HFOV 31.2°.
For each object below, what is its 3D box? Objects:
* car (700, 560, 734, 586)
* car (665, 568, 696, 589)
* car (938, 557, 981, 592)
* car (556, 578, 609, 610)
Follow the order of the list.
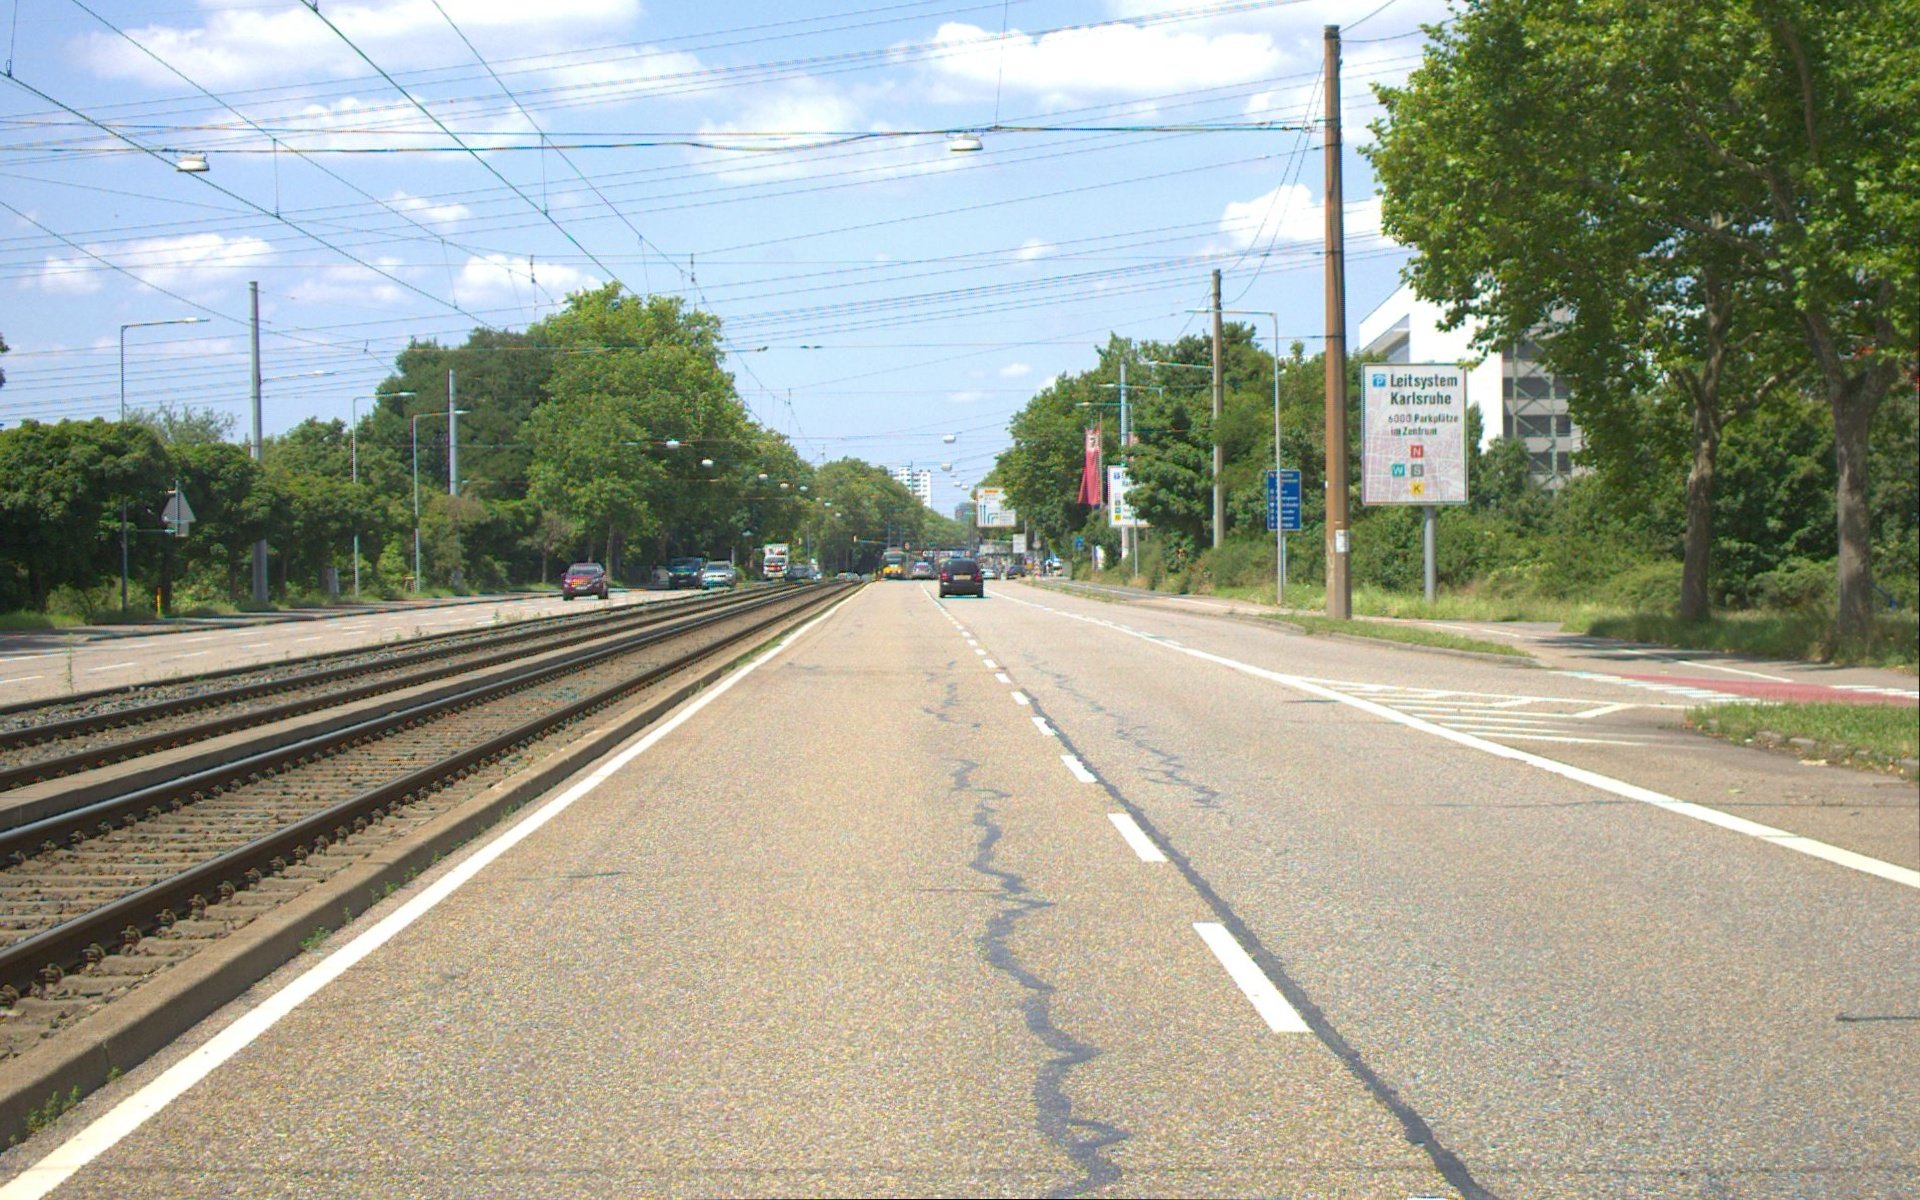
[{"bbox_3d":[-13.918,-1.559,197.054,1.716,1.423,3.901,-1,1,-1],"label":"car"},{"bbox_3d":[-17.582,-1.369,216.328,1.601,1.268,3.836,-1,1,0],"label":"car"},{"bbox_3d":[-0.017,-1.039,139.265,1.586,1.338,3.273,-1,1,-2],"label":"car"},{"bbox_3d":[-16.527,-0.273,150.501,1.875,1.327,3.918,-2,1,0],"label":"car"}]
